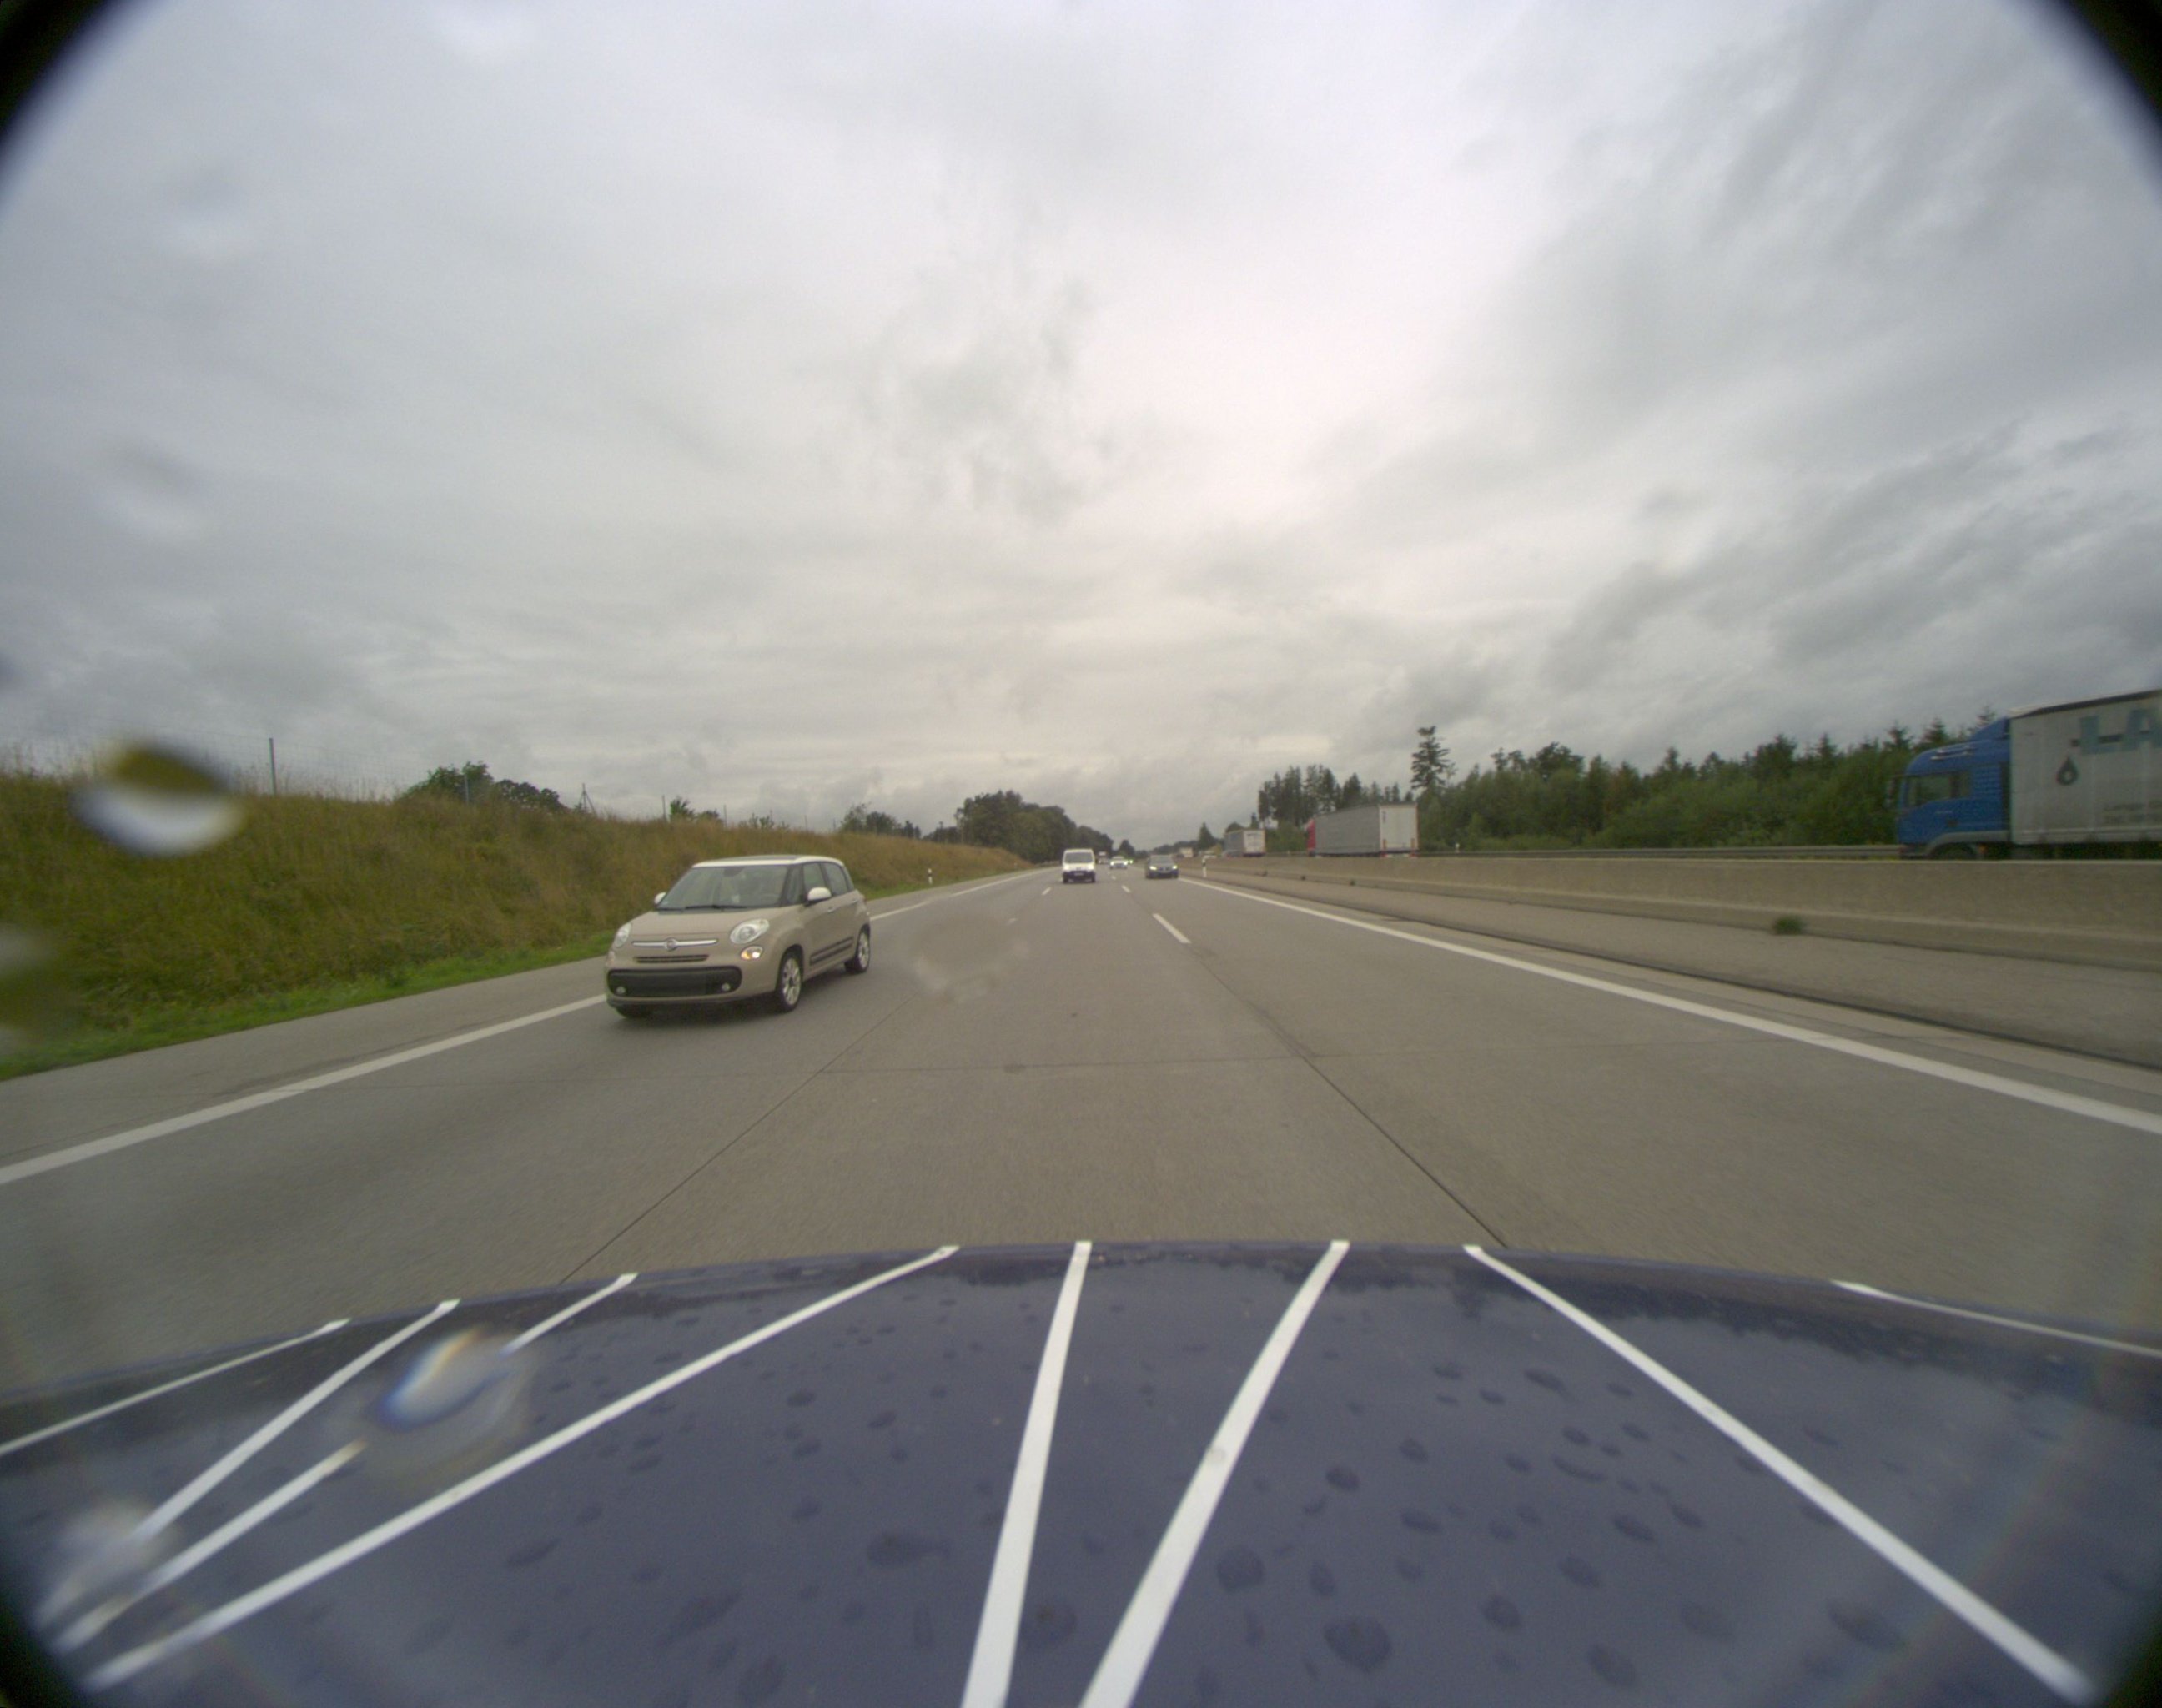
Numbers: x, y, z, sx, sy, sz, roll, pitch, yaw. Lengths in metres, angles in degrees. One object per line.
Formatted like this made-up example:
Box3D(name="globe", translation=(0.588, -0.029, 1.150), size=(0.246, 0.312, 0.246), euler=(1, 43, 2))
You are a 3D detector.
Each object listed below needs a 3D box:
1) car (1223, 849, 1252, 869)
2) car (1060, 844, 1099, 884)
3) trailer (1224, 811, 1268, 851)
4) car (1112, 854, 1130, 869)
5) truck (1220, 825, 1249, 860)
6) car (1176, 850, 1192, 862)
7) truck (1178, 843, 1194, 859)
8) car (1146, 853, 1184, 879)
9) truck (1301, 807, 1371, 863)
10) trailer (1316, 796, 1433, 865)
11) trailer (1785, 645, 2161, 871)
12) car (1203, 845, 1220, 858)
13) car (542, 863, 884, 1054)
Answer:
Box3D(name="car", translation=(13.710, 0.406, 66.723), size=(1.717, 1.669, 4.181), euler=(-2, 0, 1))
Box3D(name="car", translation=(-0.015, 0.559, 44.271), size=(2.043, 2.111, 6.068), euler=(-2, 0, 1))
Box3D(name="trailer", translation=(21.046, -2.770, 97.603), size=(2.923, 4.598, 13.638), euler=(-2, 0, 2))
Box3D(name="car", translation=(4.623, 0.856, 87.997), size=(2.031, 1.669, 4.320), euler=(-2, 0, 3))
Box3D(name="truck", translation=(21.263, -1.509, 105.714), size=(2.935, 4.649, 5.233), euler=(-2, 0, 1))
Box3D(name="car", translation=(14.938, 0.310, 110.444), size=(1.702, 1.605, 4.720), euler=(-2, 0, 2))
Box3D(name="truck", translation=(25.878, -0.746, 186.995), size=(2.906, 3.841, 8.901), euler=(-2, 0, 2))
Box3D(name="car", translation=(5.127, 0.688, 46.878), size=(1.789, 1.472, 4.571), euler=(-2, 0, 1))
Box3D(name="truck", translation=(20.516, -1.464, 61.572), size=(3.478, 4.158, 6.494), euler=(-2, 0, 2))
Box3D(name="trailer", translation=(20.294, -1.437, 53.830), size=(3.492, 4.177, 12.929), euler=(-2, 0, 2))
Box3D(name="trailer", translation=(19.718, -1.674, 13.594), size=(2.856, 3.814, 12.399), euler=(-2, 0, 1))
Box3D(name="car", translation=(17.683, -0.312, 103.379), size=(1.618, 1.641, 4.295), euler=(-2, 0, 2))
Box3D(name="car", translation=(-3.887, 0.968, 9.095), size=(1.789, 1.595, 4.571), euler=(-2, 0, 0))
